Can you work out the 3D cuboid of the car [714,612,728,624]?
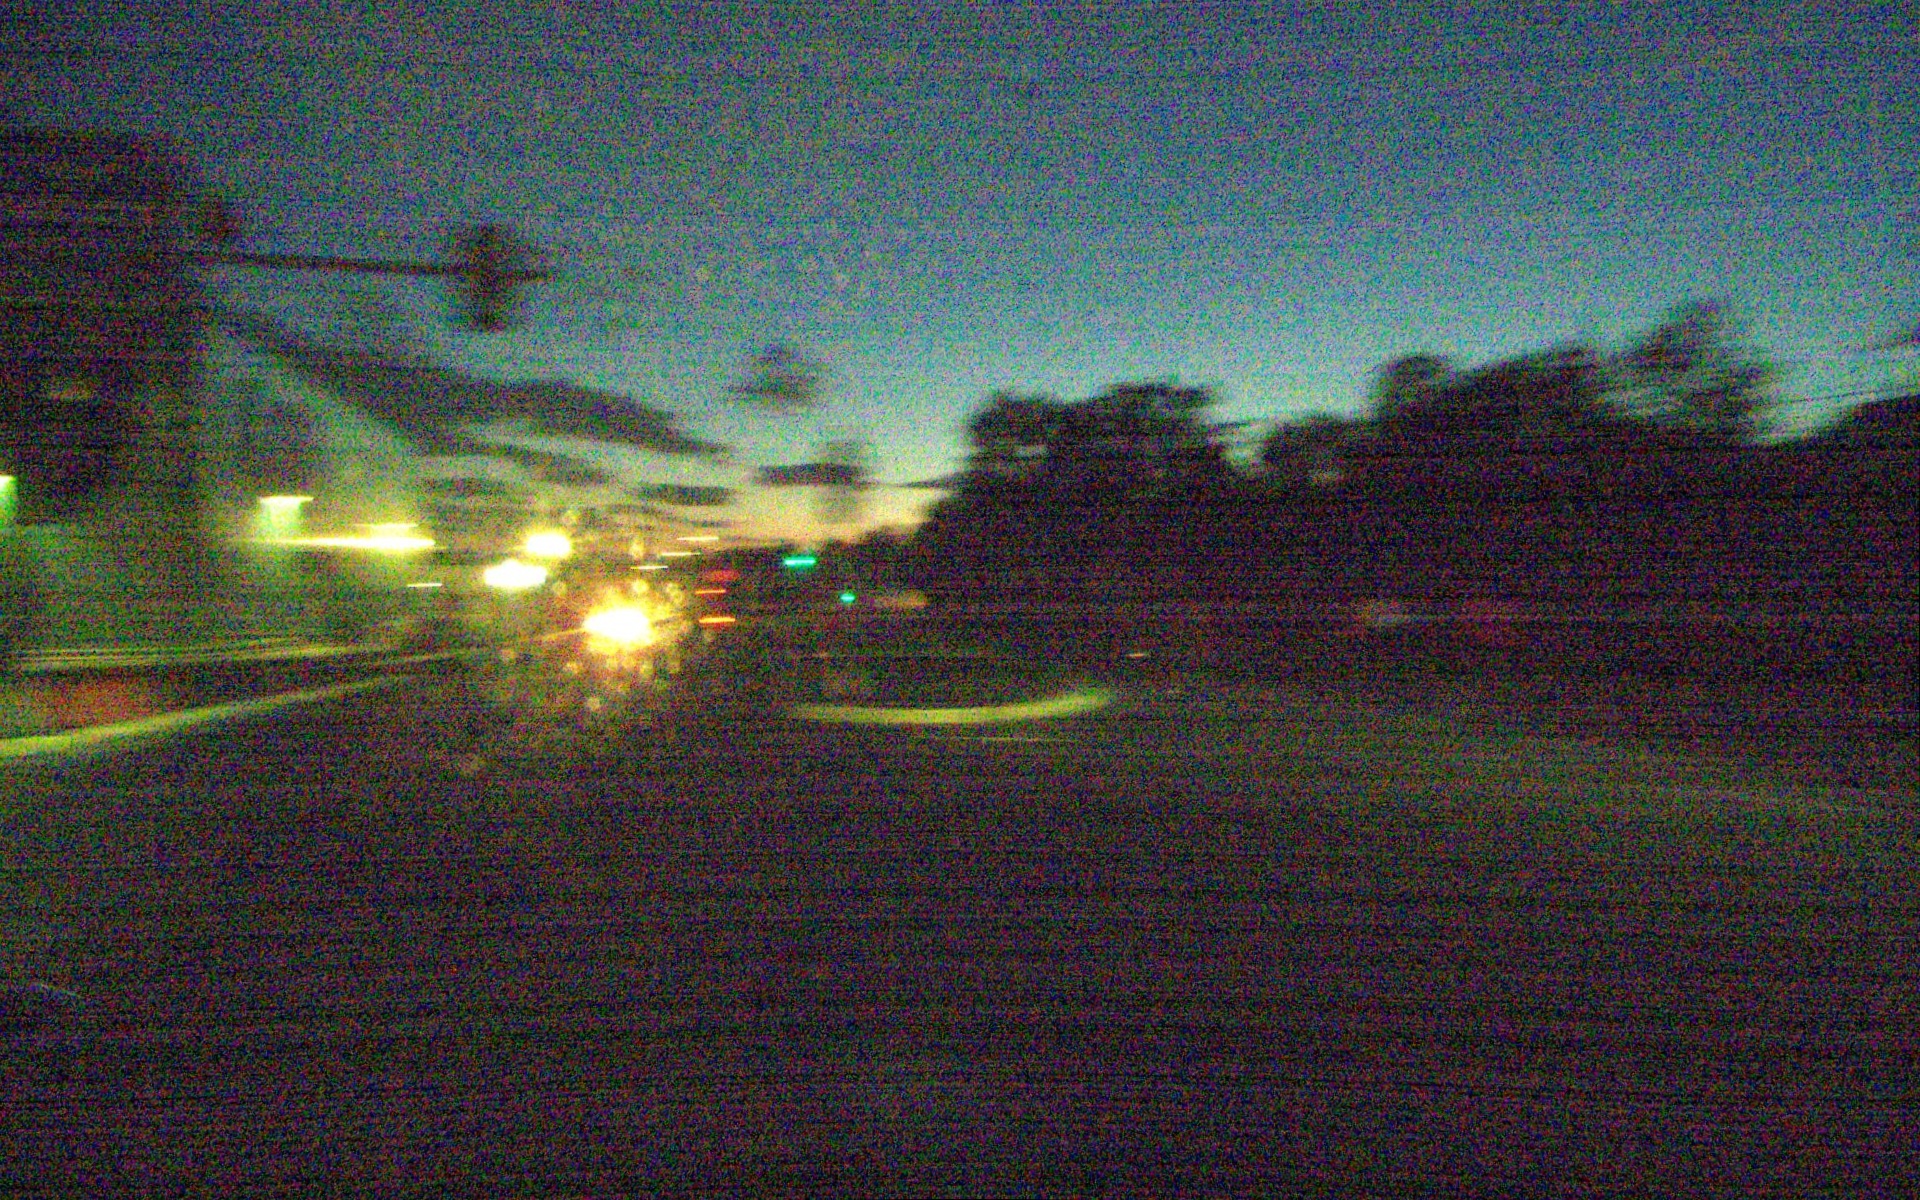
[{"bbox_3d":[-38.372,2.888,160.532,1.907,1.668,3.990,0,1,-18],"label":"car"}]
